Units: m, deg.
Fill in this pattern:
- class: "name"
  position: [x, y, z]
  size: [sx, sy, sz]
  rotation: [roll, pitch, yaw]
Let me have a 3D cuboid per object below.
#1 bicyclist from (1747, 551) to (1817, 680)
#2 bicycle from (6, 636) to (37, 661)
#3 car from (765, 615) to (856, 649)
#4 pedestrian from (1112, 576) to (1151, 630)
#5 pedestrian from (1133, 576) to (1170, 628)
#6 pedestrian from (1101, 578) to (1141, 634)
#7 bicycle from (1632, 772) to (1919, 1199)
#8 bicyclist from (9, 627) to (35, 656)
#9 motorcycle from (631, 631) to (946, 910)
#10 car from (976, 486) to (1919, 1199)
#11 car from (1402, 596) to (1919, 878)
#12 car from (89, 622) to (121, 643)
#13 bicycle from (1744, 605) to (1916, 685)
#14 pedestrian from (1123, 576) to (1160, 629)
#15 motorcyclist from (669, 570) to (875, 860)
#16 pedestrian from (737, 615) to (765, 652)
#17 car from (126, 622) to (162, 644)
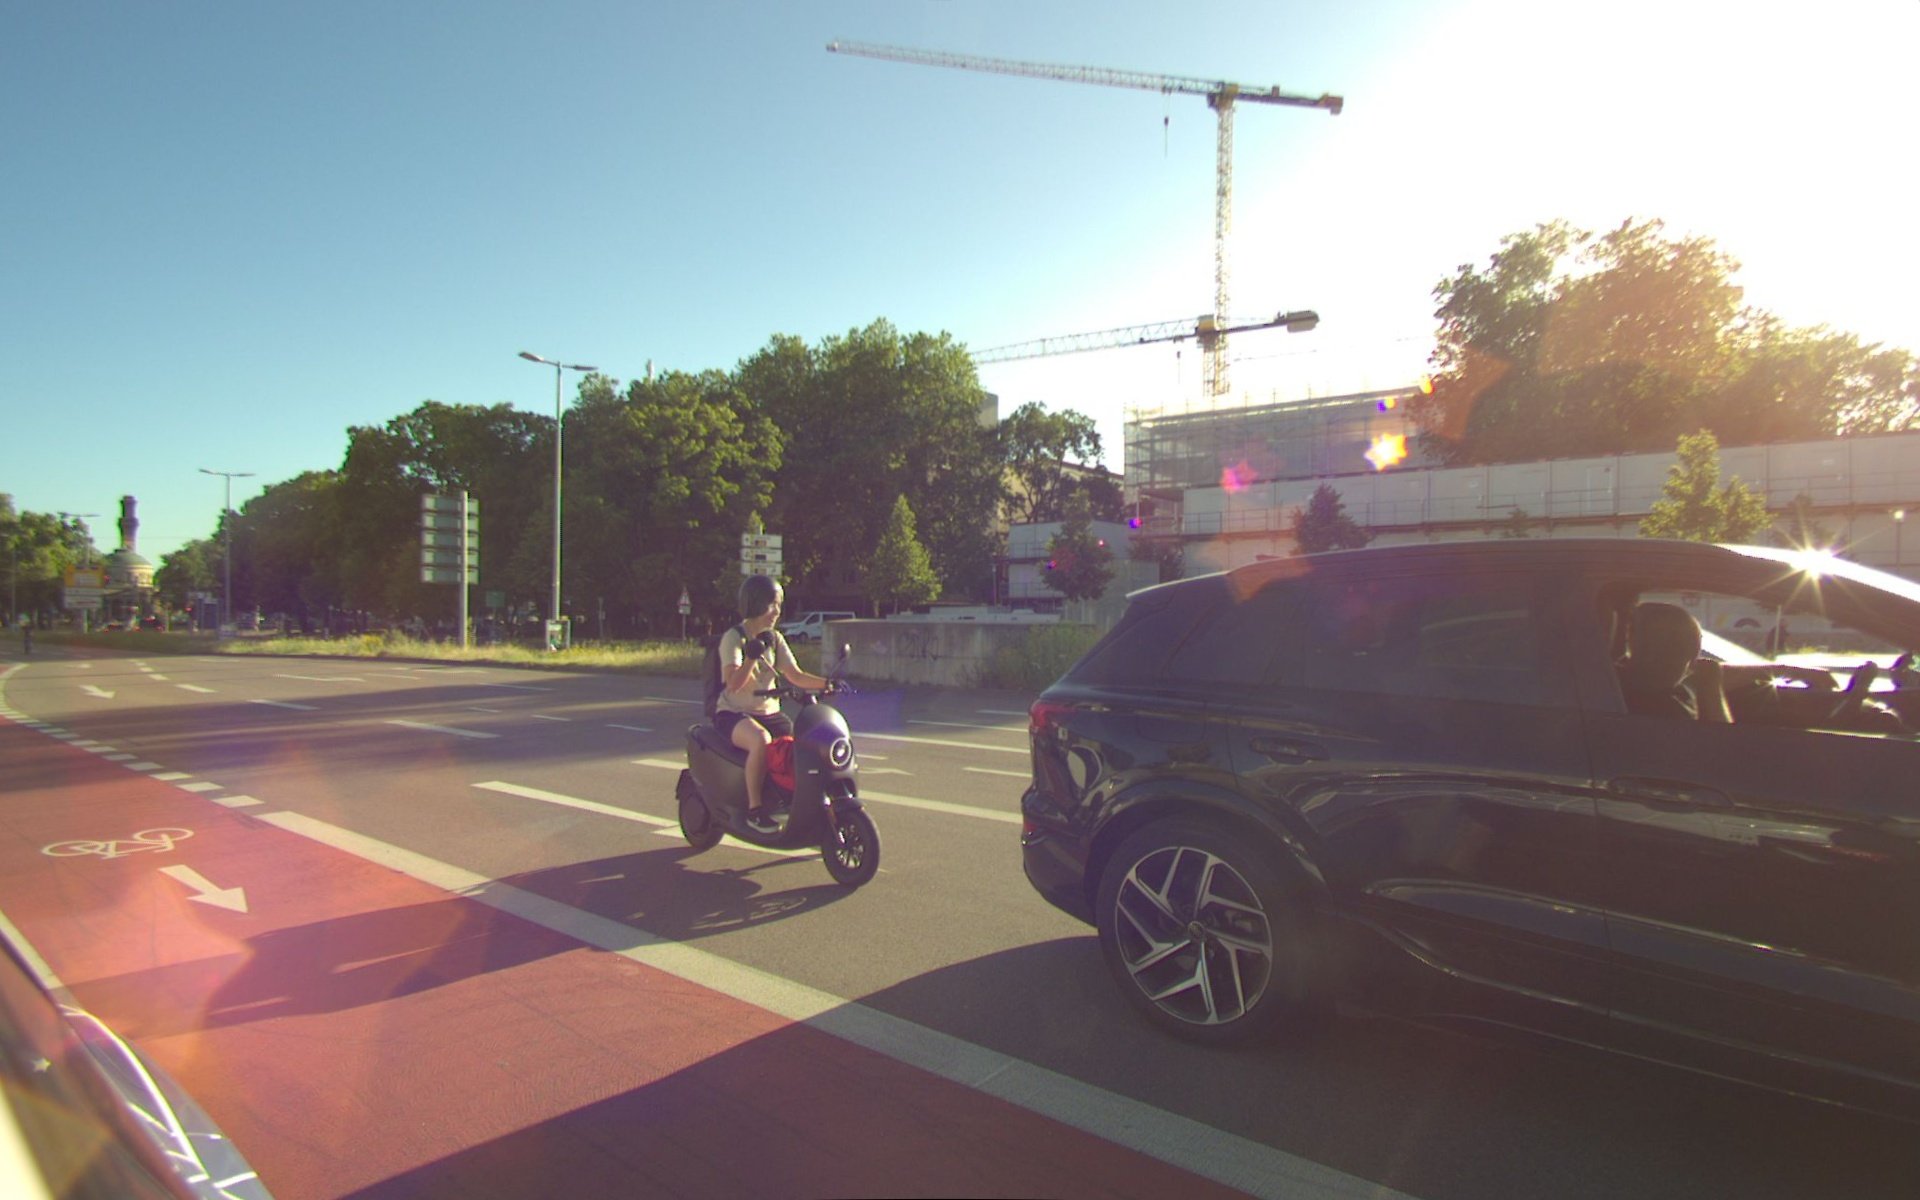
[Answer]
- class: "bicyclist"
  position: [20.454, 0.372, 25.200]
  size: [1.305, 3.126, 0.831]
  rotation: [-1, 0, 39]
- class: "bicycle"
  position: [-46.014, 2.365, 49.603]
  size: [2.806, 1.124, 0.843]
  rotation: [-2, -1, 41]
- class: "car"
  position: [-9.059, 1.922, 61.838]
  size: [2.065, 1.950, 5.443]
  rotation: [-1, -2, 42]
- class: "pedestrian"
  position: [6.528, 0.105, 38.523]
  size: [1.135, 2.029, 0.930]
  rotation: [-1, 0, 35]
- class: "pedestrian"
  position: [7.586, 0.091, 40.087]
  size: [1.135, 2.029, 0.930]
  rotation: [-1, 0, 35]
- class: "pedestrian"
  position: [6.002, 0.220, 37.723]
  size: [1.135, 2.029, 0.930]
  rotation: [-1, 0, 35]
- class: "bicycle"
  position: [1.347, 0.791, 0.315]
  size: [1.829, 1.227, 0.610]
  rotation: [-2, -1, 39]
- class: "bicyclist"
  position: [-46.065, 2.024, 49.679]
  size: [0.829, 1.358, 0.843]
  rotation: [-2, -1, 41]
- class: "motorcycle"
  position: [-1.027, 0.841, 5.723]
  size: [1.883, 1.303, 0.715]
  rotation: [-2, -1, 41]
- class: "car"
  position: [2.421, 0.576, 3.020]
  size: [4.677, 1.647, 1.753]
  rotation: [-1, 0, 40]
- class: "car"
  position: [4.980, 0.754, 6.540]
  size: [3.603, 1.497, 1.477]
  rotation: [-2, -1, 41]
- class: "car"
  position: [-79.869, 3.019, 94.521]
  size: [3.945, 1.802, 1.725]
  rotation: [-1, 0, 41]
- class: "bicycle"
  position: [21.100, 1.093, 24.661]
  size: [3.079, 1.824, 0.831]
  rotation: [-3, -1, 40]
- class: "pedestrian"
  position: [7.059, 0.098, 39.310]
  size: [1.135, 2.029, 0.930]
  rotation: [-1, 0, 35]
- class: "motorcyclist"
  position: [-1.074, 0.595, 5.764]
  size: [0.917, 1.485, 0.717]
  rotation: [-2, -1, 41]
- class: "pedestrian"
  position: [-10.865, 1.722, 52.523]
  size: [1.018, 1.845, 0.977]
  rotation: [-1, 0, 37]
- class: "car"
  position: [-71.433, 2.838, 88.597]
  size: [3.998, 1.841, 1.796]
  rotation: [-1, 0, 41]
